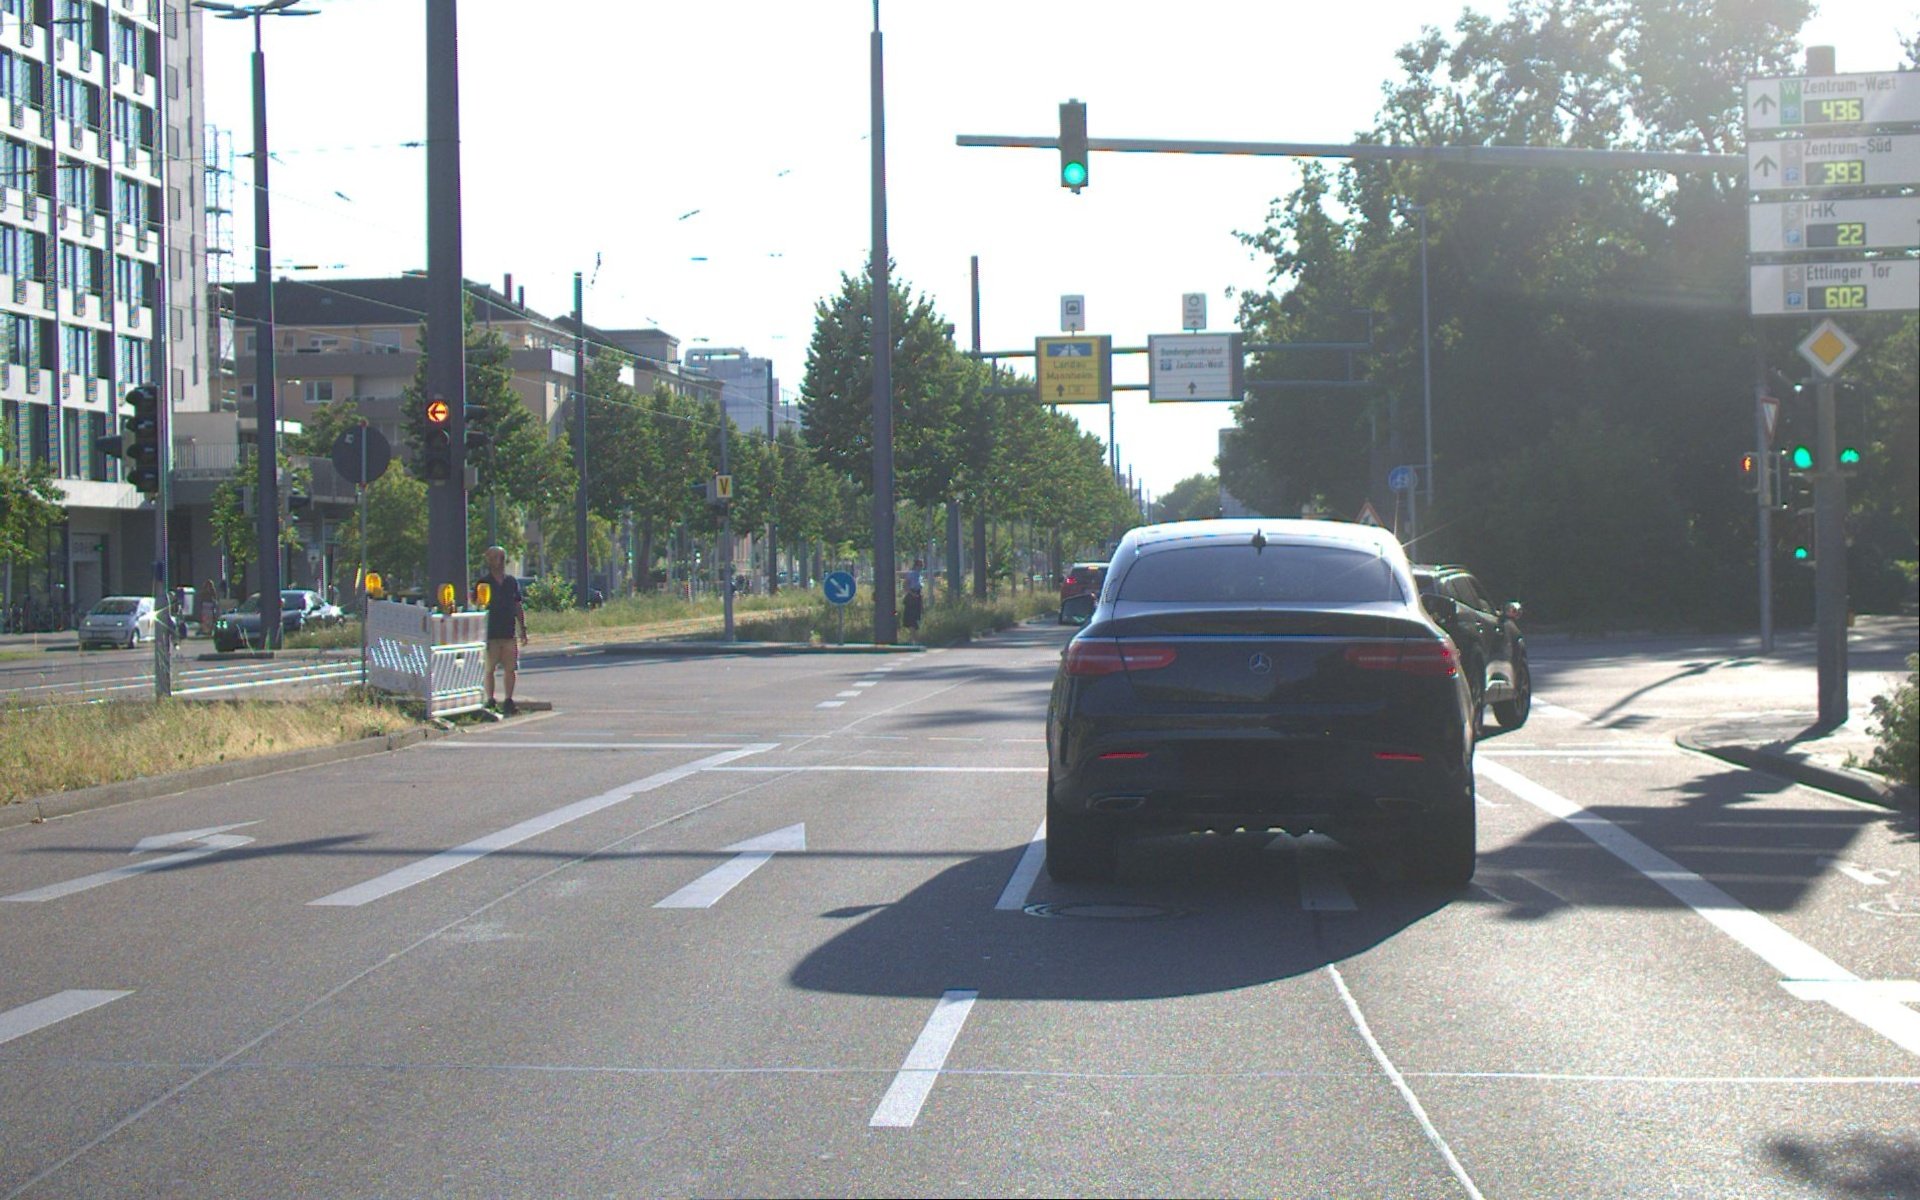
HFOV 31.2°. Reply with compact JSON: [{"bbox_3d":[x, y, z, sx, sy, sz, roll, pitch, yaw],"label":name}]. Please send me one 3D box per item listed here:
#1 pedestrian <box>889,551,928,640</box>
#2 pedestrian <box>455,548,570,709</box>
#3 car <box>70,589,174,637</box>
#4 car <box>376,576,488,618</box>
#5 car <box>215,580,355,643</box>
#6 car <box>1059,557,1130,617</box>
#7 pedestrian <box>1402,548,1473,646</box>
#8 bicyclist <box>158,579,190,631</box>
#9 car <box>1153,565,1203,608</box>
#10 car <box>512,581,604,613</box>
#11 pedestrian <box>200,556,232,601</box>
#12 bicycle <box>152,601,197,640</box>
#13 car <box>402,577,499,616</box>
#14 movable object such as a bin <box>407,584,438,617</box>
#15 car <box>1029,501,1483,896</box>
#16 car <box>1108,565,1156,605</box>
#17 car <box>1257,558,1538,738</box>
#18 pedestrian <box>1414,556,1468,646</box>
[{"bbox_3d":[-0.997,-0.082,66.133,0.598,1.693,0.714,-1,0,10],"label":"pedestrian"},{"bbox_3d":[-4.636,0.288,35.639,0.925,1.643,0.765,-1,0,17],"label":"pedestrian"},{"bbox_3d":[-24.313,0.354,99.858,1.757,1.323,3.999,0,1,5],"label":"car"},{"bbox_3d":[-21.377,-0.125,139.323,4.083,1.595,1.750,1,1,-36],"label":"car"},{"bbox_3d":[-15.243,0.237,77.911,1.891,1.339,4.850,-1,1,4],"label":"car"},{"bbox_3d":[3.760,-0.380,95.639,1.886,1.575,4.000,0,1,4],"label":"car"},{"bbox_3d":[8.995,-0.050,64.747,0.856,1.796,0.907,-3,1,-30],"label":"pedestrian"},{"bbox_3d":[-22.312,0.145,97.637,0.625,1.460,0.851,-1,0,5],"label":"bicyclist"},{"bbox_3d":[8.333,-0.515,131.188,1.886,1.575,4.000,0,1,4],"label":"car"},{"bbox_3d":[-19.601,-0.153,167.508,3.988,1.557,2.000,0,1,-37],"label":"car"},{"bbox_3d":[-27.392,-0.796,126.547,0.843,1.648,0.969,-1,0,6],"label":"pedestrian"},{"bbox_3d":[-22.306,0.563,97.626,0.625,1.063,2.077,-1,0,5],"label":"bicycle"},{"bbox_3d":[-21.157,-0.142,142.783,3.614,1.518,1.620,1,0,-36],"label":"car"},{"bbox_3d":[-20.934,0.022,133.923,0.858,1.276,0.939,-1,0,19],"label":"movable object such as a bin"},{"bbox_3d":[1.550,0.383,17.143,1.994,1.728,3.999,0,1,7],"label":"car"},{"bbox_3d":[7.035,-0.639,140.576,1.886,1.575,4.000,0,1,4],"label":"car"},{"bbox_3d":[4.079,0.392,31.530,1.898,1.522,4.055,0,1,17],"label":"car"},{"bbox_3d":[8.908,0.019,63.718,0.766,1.631,0.770,-3,0,-5],"label":"pedestrian"}]
